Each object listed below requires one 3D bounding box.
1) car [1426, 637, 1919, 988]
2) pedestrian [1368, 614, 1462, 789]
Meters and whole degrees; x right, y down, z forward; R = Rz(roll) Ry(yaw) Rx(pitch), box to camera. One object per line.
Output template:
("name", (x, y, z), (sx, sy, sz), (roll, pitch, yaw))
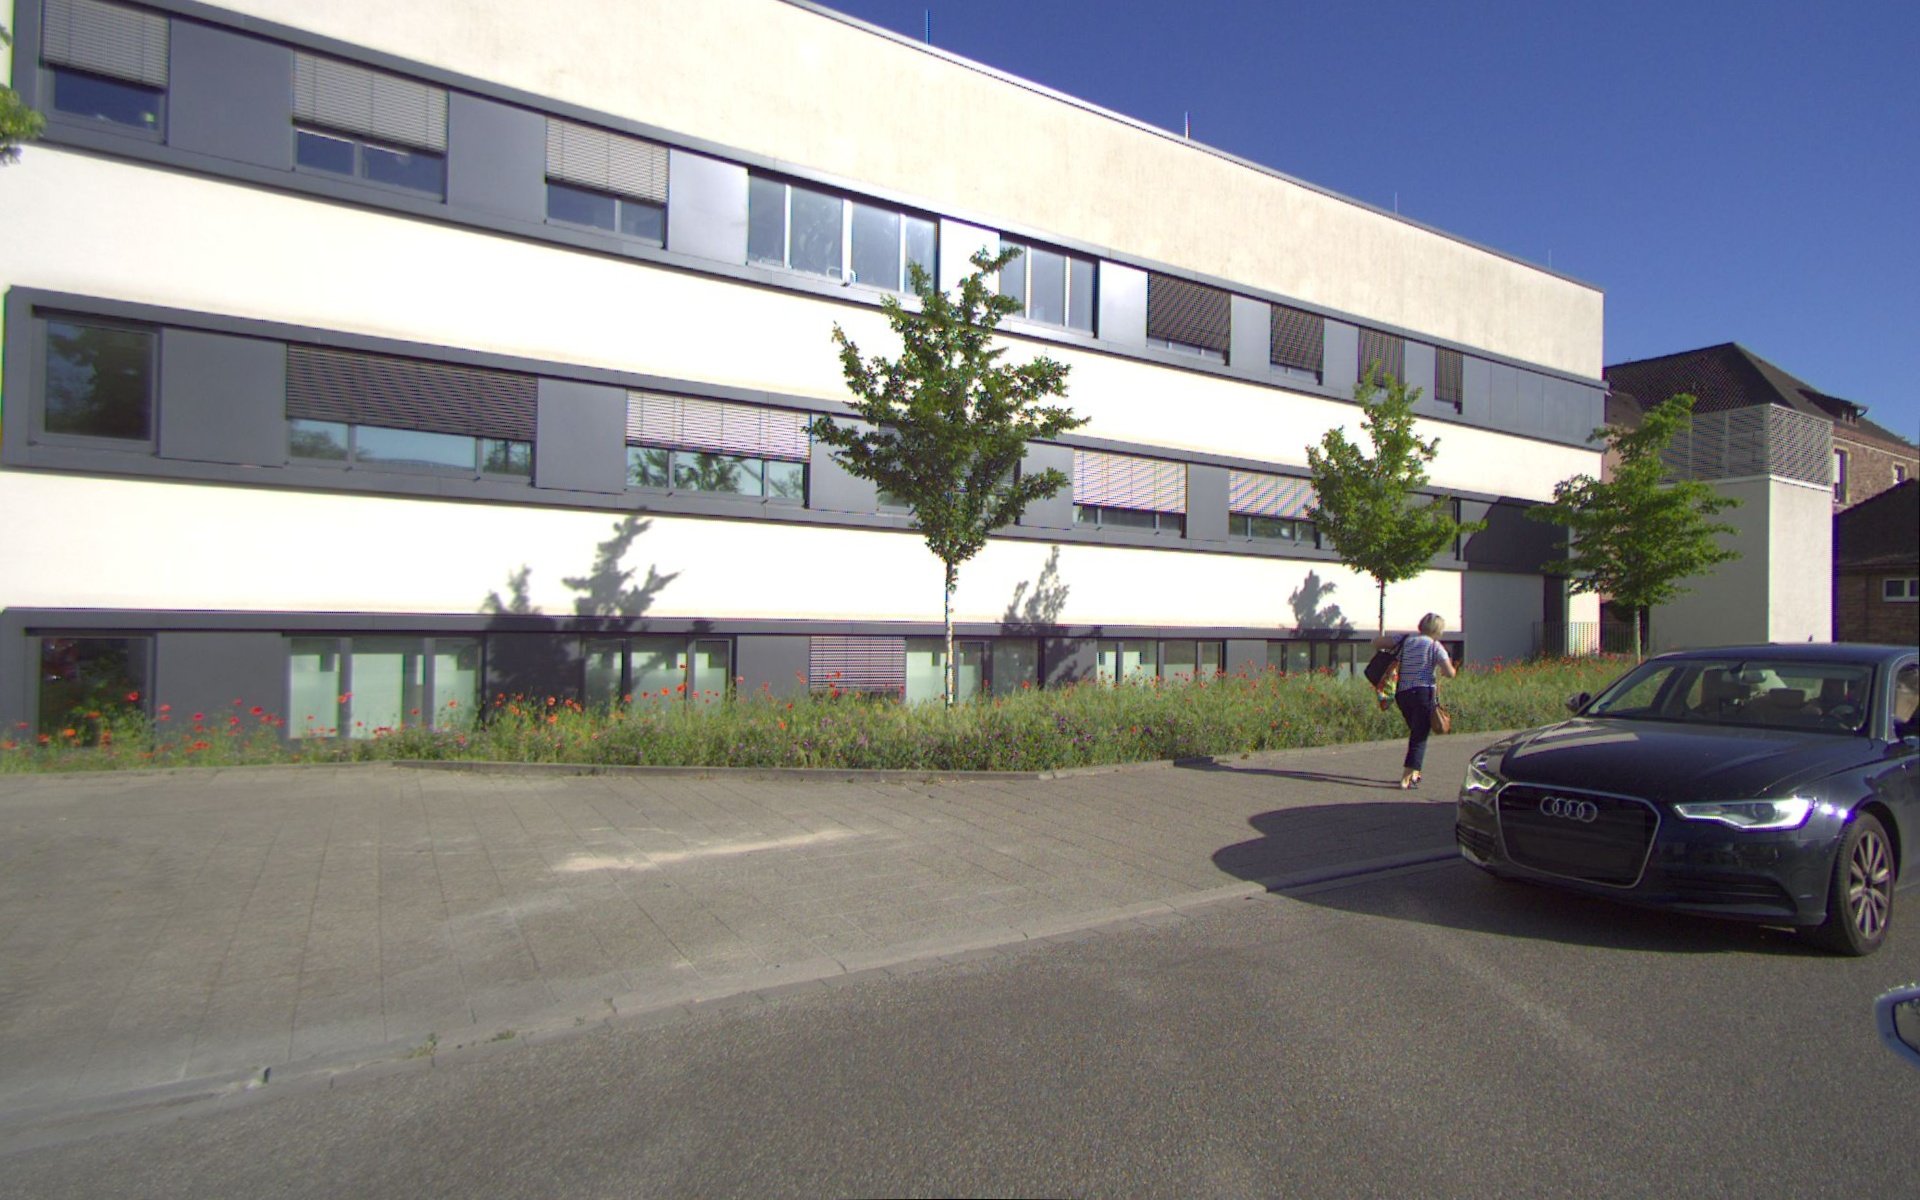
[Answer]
("car", (5.048, 0.977, 6.169), (4.484, 1.461, 1.753), (1, -2, -30))
("pedestrian", (4.205, 0.910, 9.287), (0.600, 1.544, 0.536), (1, -1, -30))
